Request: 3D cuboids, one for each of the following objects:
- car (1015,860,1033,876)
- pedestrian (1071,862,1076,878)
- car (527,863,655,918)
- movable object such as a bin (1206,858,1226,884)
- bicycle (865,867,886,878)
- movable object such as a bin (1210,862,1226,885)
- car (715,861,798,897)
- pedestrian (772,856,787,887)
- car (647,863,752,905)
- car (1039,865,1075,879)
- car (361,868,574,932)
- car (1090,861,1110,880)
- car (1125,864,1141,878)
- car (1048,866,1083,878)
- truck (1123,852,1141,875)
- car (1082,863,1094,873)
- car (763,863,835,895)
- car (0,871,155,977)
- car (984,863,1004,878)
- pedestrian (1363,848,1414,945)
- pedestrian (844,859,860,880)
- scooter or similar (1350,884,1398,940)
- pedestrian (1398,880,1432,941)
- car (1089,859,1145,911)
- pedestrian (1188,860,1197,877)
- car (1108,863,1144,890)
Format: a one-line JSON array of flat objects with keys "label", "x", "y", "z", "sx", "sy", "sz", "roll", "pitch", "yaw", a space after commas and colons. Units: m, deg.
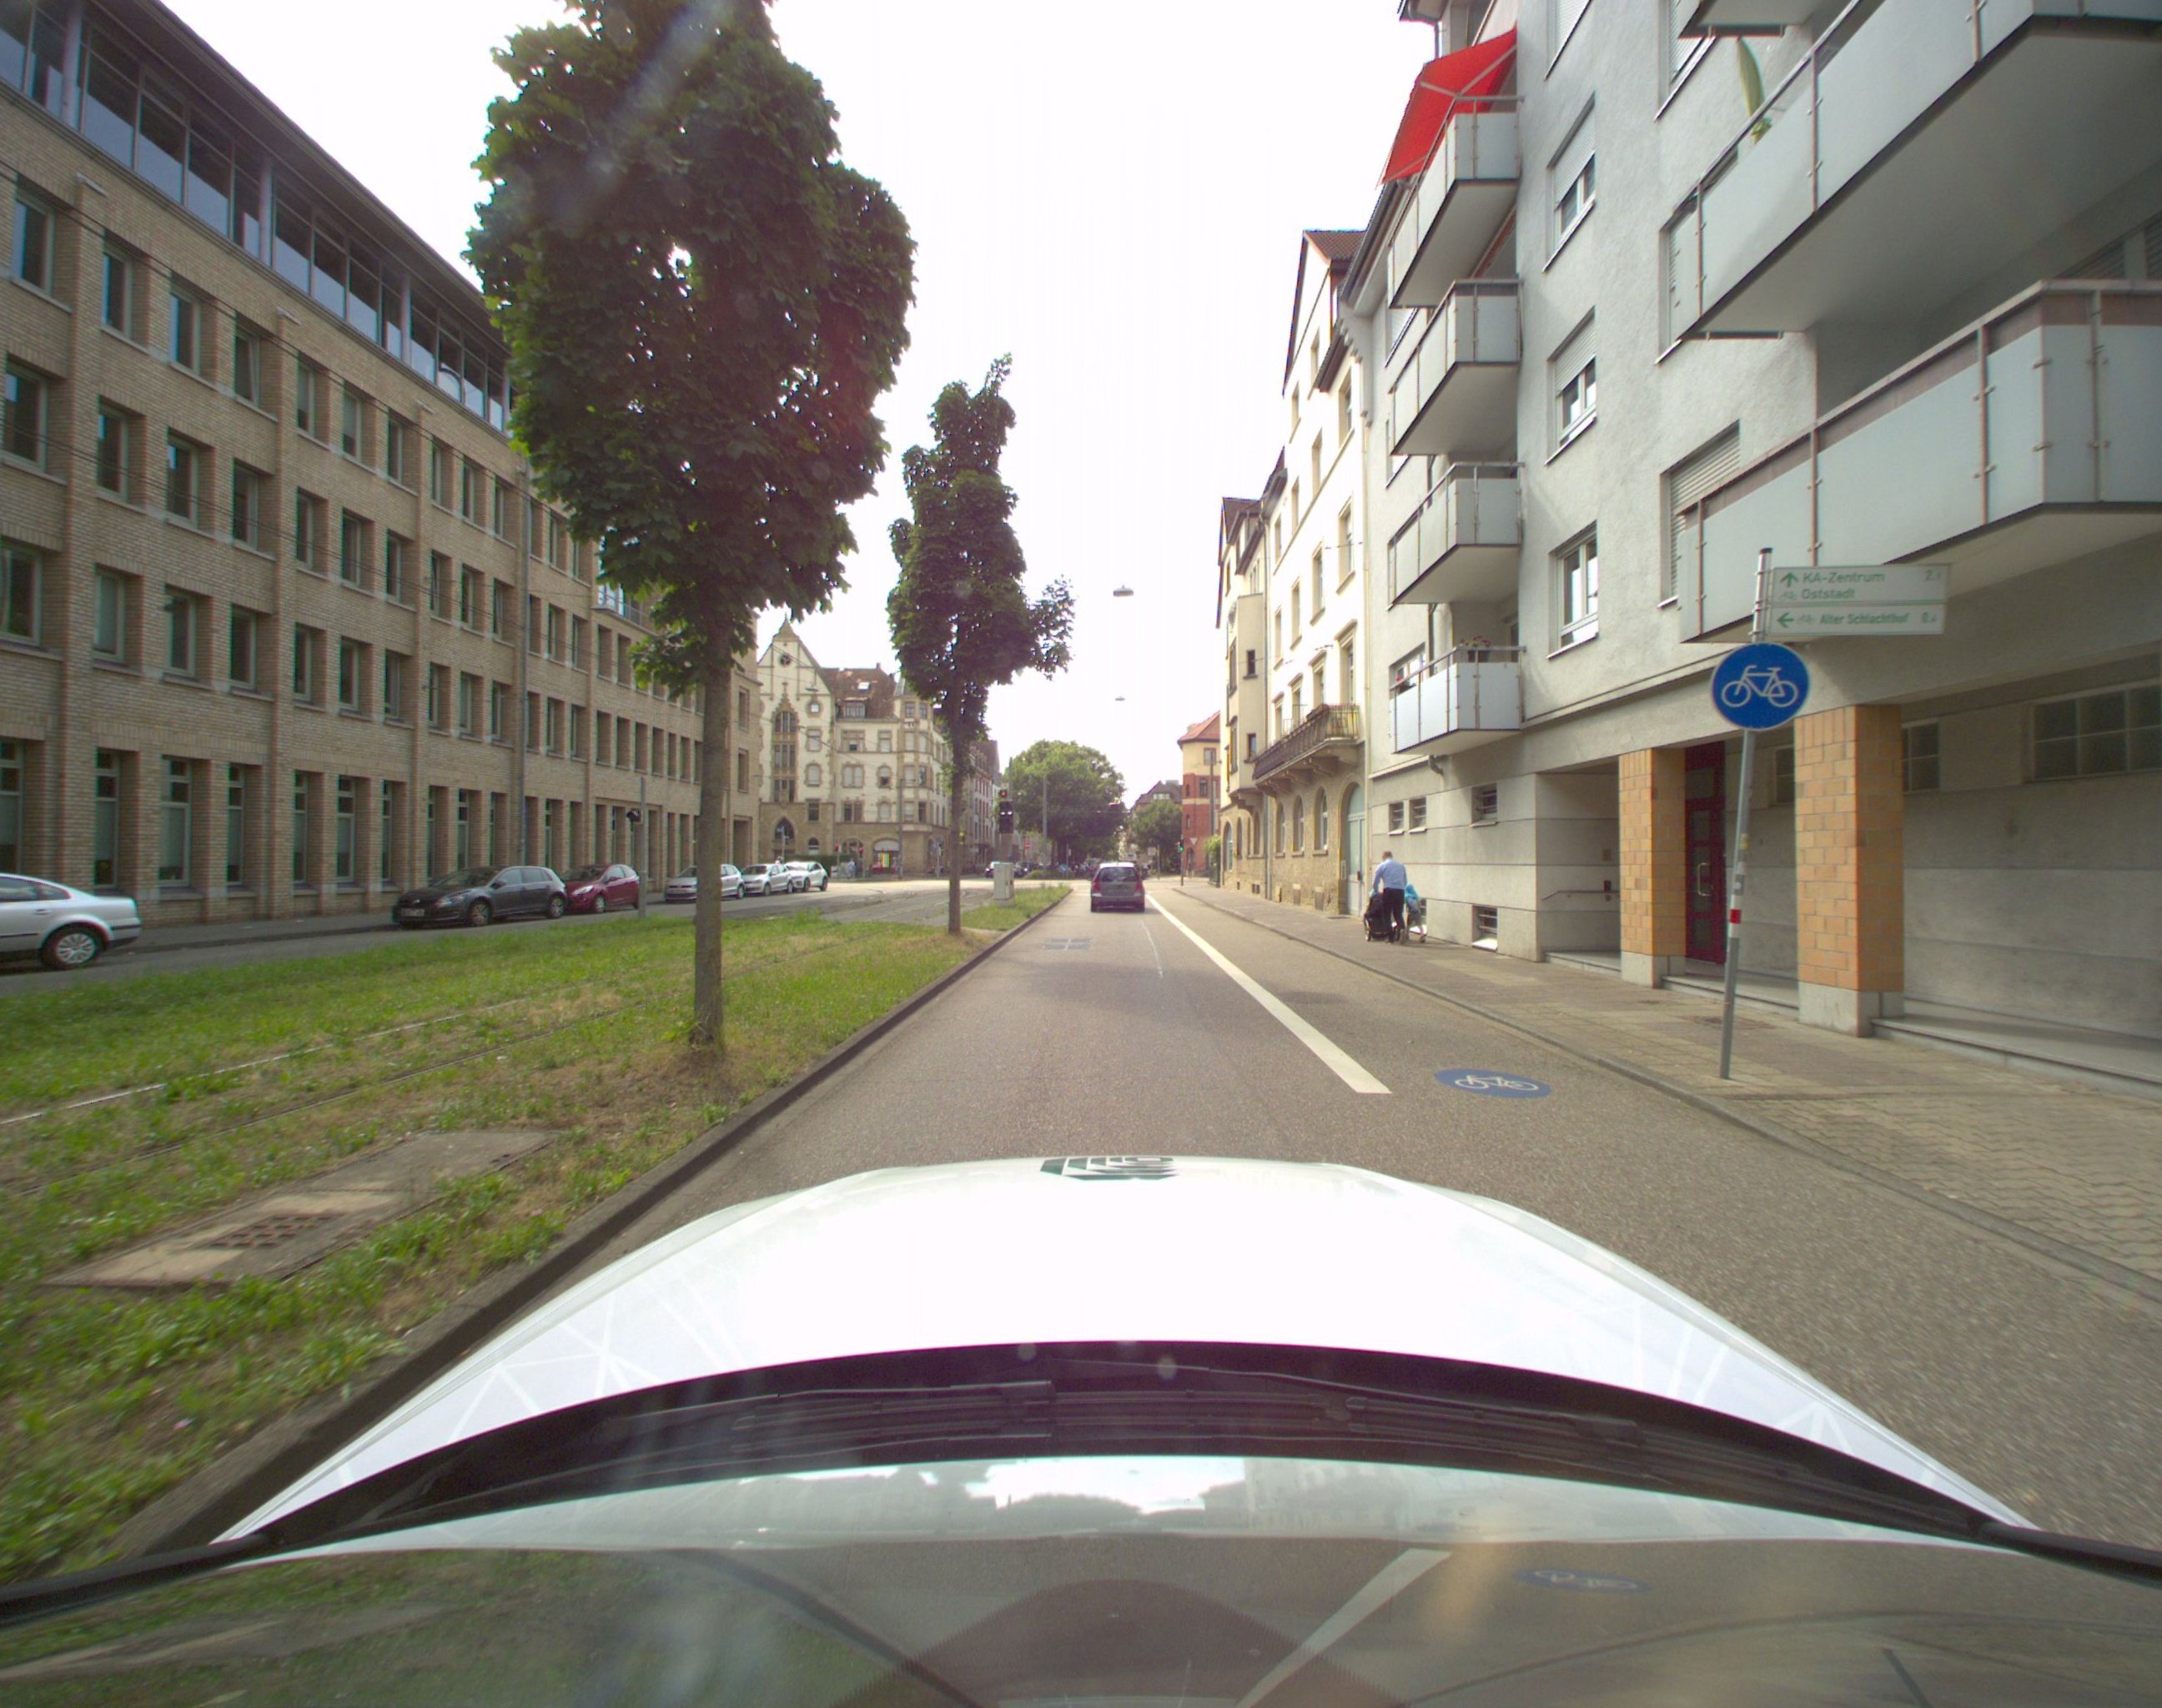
[{"label": "car", "x": -6.350, "y": 1.575, "z": 91.228, "sx": 1.989, "sy": 1.728, "sz": 3.995, "roll": -1, "pitch": -1, "yaw": -3}, {"label": "pedestrian", "x": -0.798, "y": 1.685, "z": 87.421, "sx": 0.492, "sy": 1.725, "sz": 0.653, "roll": 0, "pitch": -1, "yaw": -4}, {"label": "car", "x": -14.835, "y": 1.057, "z": 24.870, "sx": 1.576, "sy": 1.531, "sz": 3.552, "roll": 0, "pitch": -1, "yaw": 3}, {"label": "movable object such as a bin", "x": 8.421, "y": 1.065, "z": 50.961, "sx": 1.045, "sy": 1.540, "sz": 2.102, "roll": -1, "pitch": -1, "yaw": 4}, {"label": "bicycle", "x": -20.315, "y": 1.849, "z": 80.481, "sx": 1.915, "sy": 1.081, "sz": 0.776, "roll": -1, "pitch": -1, "yaw": -9}, {"label": "movable object such as a bin", "x": 8.822, "y": 1.266, "z": 52.412, "sx": 0.714, "sy": 1.472, "sz": 0.980, "roll": -1, "pitch": -1, "yaw": -7}, {"label": "car", "x": -14.548, "y": 1.088, "z": 36.740, "sx": 1.925, "sy": 1.531, "sz": 4.017, "roll": 0, "pitch": -1, "yaw": 3}, {"label": "pedestrian", "x": -17.370, "y": 1.012, "z": 46.918, "sx": 0.763, "sy": 1.795, "sz": 0.953, "roll": 1, "pitch": -1, "yaw": -23}, {"label": "car", "x": -14.616, "y": 1.099, "z": 31.489, "sx": 1.843, "sy": 1.531, "sz": 4.213, "roll": 0, "pitch": -1, "yaw": 3}, {"label": "car", "x": -2.680, "y": 1.915, "z": 89.760, "sx": 1.983, "sy": 1.495, "sz": 3.955, "roll": 1, "pitch": -1, "yaw": -37}, {"label": "car", "x": -15.011, "y": 1.069, "z": 20.285, "sx": 1.925, "sy": 1.396, "sz": 4.243, "roll": 0, "pitch": -1, "yaw": 3}, {"label": "car", "x": 1.758, "y": 1.503, "z": 75.612, "sx": 1.715, "sy": 1.706, "sz": 3.680, "roll": -1, "pitch": -1, "yaw": 3}, {"label": "car", "x": 6.226, "y": 1.998, "z": 97.366, "sx": 1.743, "sy": 1.633, "sz": 3.505, "roll": 0, "pitch": -1, "yaw": 6}, {"label": "car", "x": -1.799, "y": 2.019, "z": 92.351, "sx": 1.983, "sy": 1.339, "sz": 3.955, "roll": 1, "pitch": -1, "yaw": -37}, {"label": "truck", "x": 6.919, "y": 1.282, "z": 110.296, "sx": 2.112, "sy": 2.970, "sz": 4.006, "roll": -1, "pitch": -1, "yaw": 6}, {"label": "car", "x": 1.200, "y": 2.325, "z": 134.858, "sx": 1.745, "sy": 1.517, "sz": 3.502, "roll": 0, "pitch": -1, "yaw": 3}, {"label": "car", "x": -14.215, "y": 1.209, "z": 41.342, "sx": 1.925, "sy": 1.535, "sz": 4.261, "roll": 0, "pitch": -1, "yaw": 3}, {"label": "car", "x": -15.343, "y": 0.945, "z": 10.407, "sx": 1.708, "sy": 1.396, "sz": 4.488, "roll": 0, "pitch": -1, "yaw": 3}, {"label": "car", "x": -9.558, "y": 1.824, "z": 89.837, "sx": 1.989, "sy": 1.618, "sz": 3.995, "roll": -1, "pitch": -1, "yaw": -3}, {"label": "pedestrian", "x": 5.721, "y": 0.777, "z": 15.175, "sx": 0.618, "sy": 1.739, "sz": 0.878, "roll": -1, "pitch": -1, "yaw": 3}, {"label": "pedestrian", "x": -18.959, "y": 1.243, "z": 67.350, "sx": 1.029, "sy": 1.722, "sz": 0.767, "roll": 1, "pitch": -1, "yaw": -42}, {"label": "scooter or similar", "x": 5.781, "y": 1.133, "z": 16.082, "sx": 0.590, "sy": 1.002, "sz": 0.906, "roll": -4, "pitch": -1, "yaw": 3}, {"label": "pedestrian", "x": 6.370, "y": 1.064, "z": 15.530, "sx": 0.454, "sy": 1.135, "sz": 0.494, "roll": 0, "pitch": -1, "yaw": 3}, {"label": "car", "x": 1.237, "y": 0.989, "z": 27.426, "sx": 1.715, "sy": 1.606, "sz": 3.680, "roll": -1, "pitch": -1, "yaw": 3}, {"label": "pedestrian", "x": 10.978, "y": 1.400, "z": 80.256, "sx": 0.864, "sy": 1.657, "sz": 0.737, "roll": 0, "pitch": -1, "yaw": 6}, {"label": "car", "x": 2.535, "y": 1.255, "z": 45.917, "sx": 1.972, "sy": 1.442, "sz": 4.003, "roll": 0, "pitch": -1, "yaw": 3}]
